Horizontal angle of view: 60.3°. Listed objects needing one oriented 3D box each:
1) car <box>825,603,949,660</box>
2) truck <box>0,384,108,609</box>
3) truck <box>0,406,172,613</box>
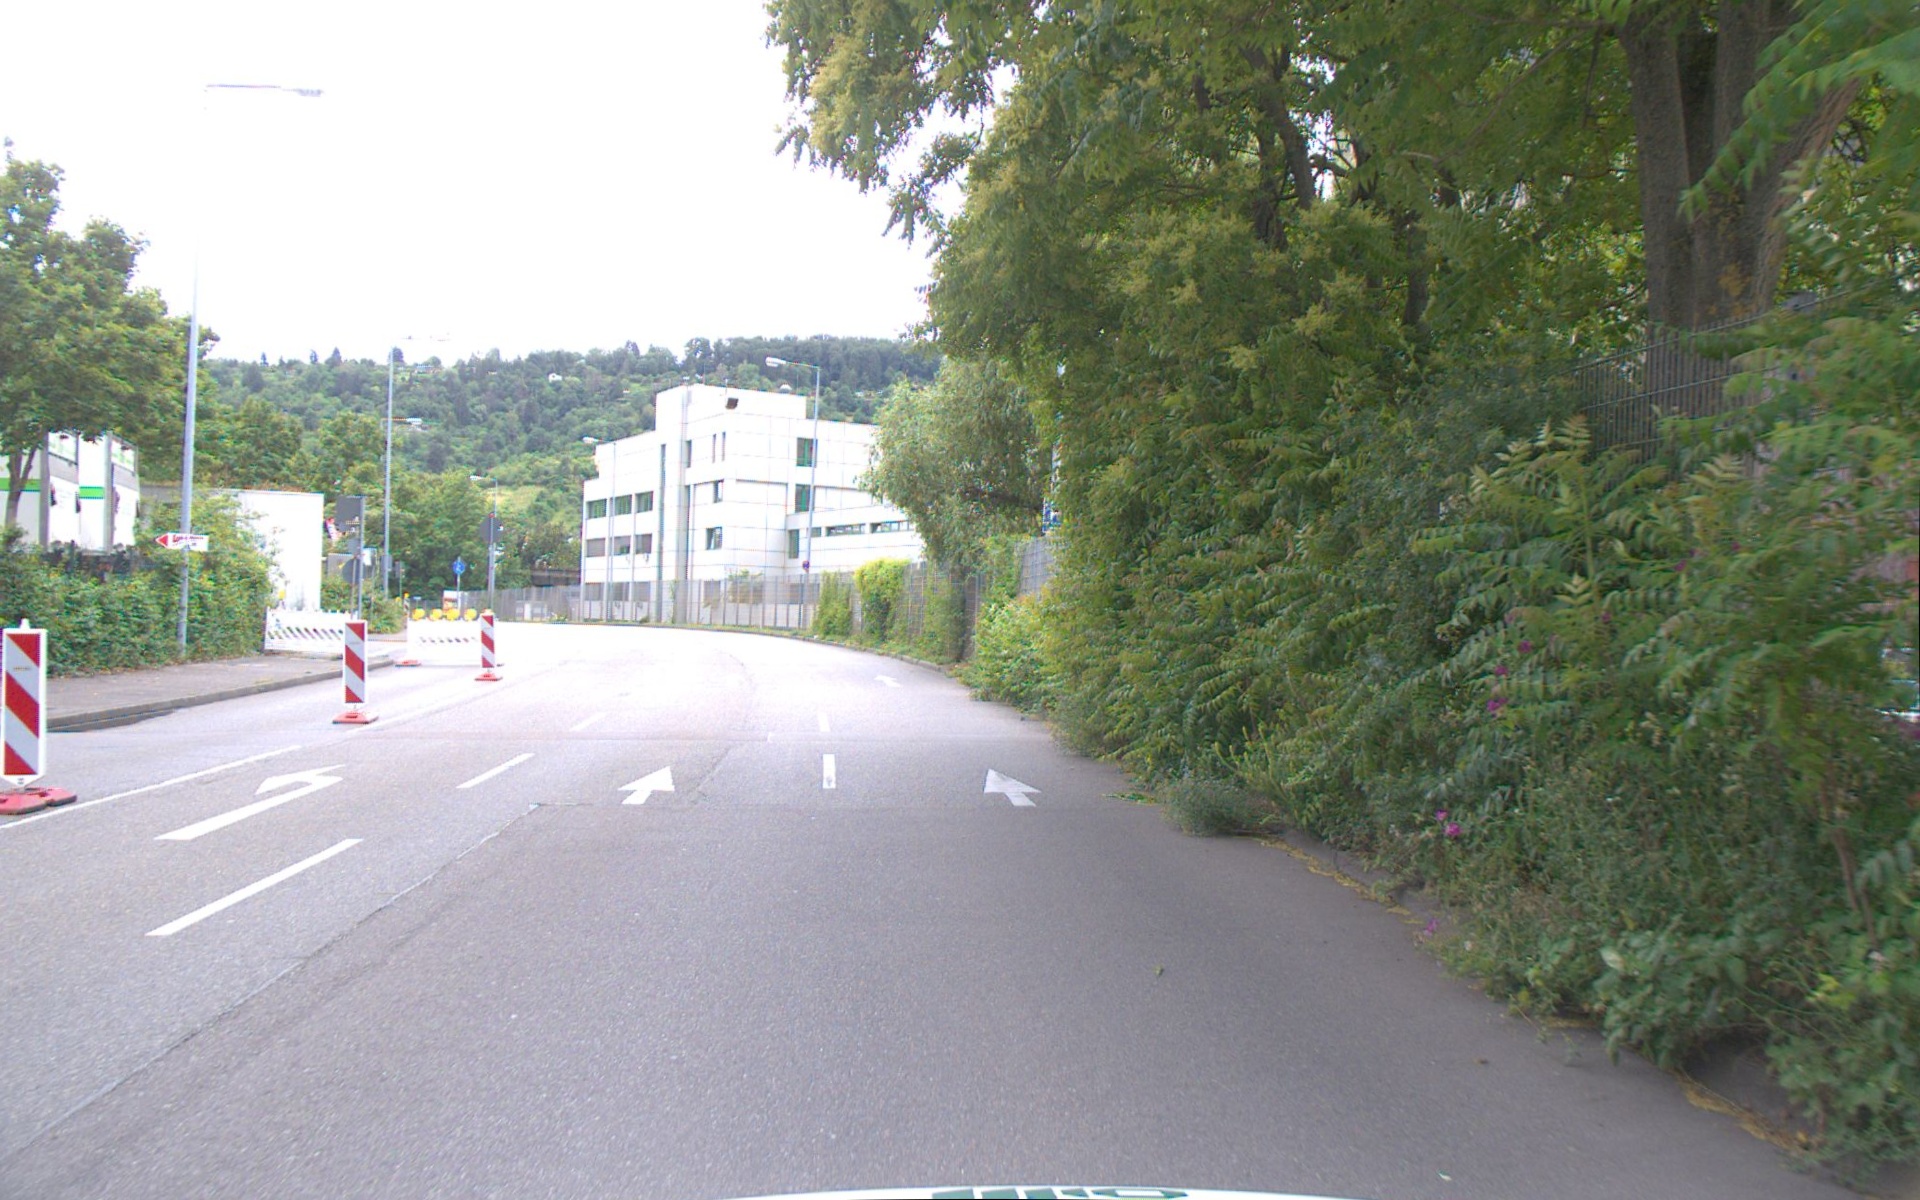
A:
[{"bbox_3d":[-3.446,1.452,77.133,6.061,2.302,1.988,3,-1,42],"label":"car"},{"bbox_3d":[-20.842,-2.028,31.340,7.716,4.061,3.038,2,-2,-17],"label":"truck"},{"bbox_3d":[-21.964,-1.940,34.392,9.461,4.061,3.040,2,-2,-15],"label":"truck"}]
